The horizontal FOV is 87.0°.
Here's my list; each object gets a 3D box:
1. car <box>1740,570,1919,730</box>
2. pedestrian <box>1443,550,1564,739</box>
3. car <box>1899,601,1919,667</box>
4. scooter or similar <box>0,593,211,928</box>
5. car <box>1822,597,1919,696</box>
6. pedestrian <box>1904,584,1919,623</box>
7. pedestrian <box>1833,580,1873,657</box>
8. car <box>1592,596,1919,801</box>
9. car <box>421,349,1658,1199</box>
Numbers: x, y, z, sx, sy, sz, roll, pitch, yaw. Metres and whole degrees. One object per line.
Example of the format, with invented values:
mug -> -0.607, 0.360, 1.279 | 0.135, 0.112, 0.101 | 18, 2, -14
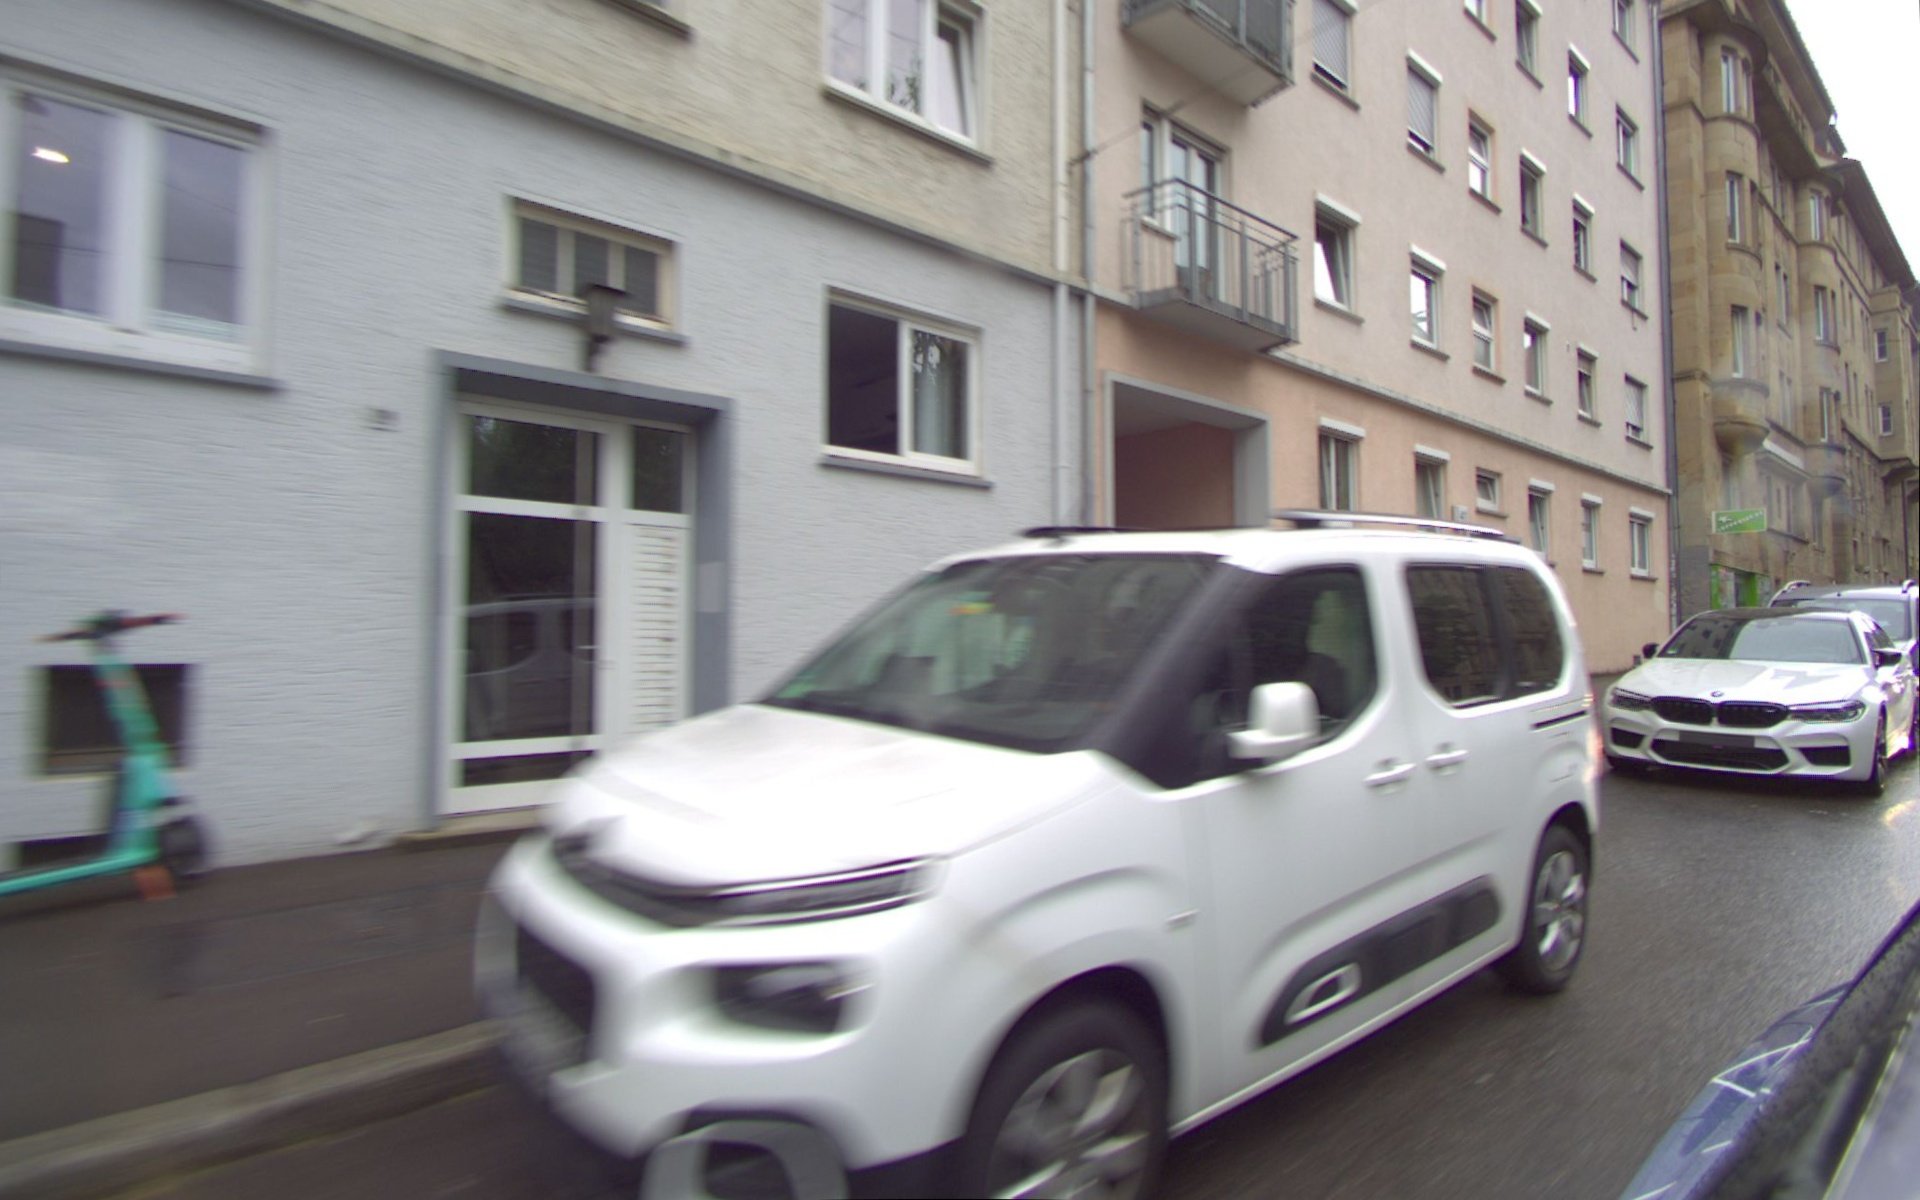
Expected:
car -> 11.797, 0.558, 13.245 | 4.139, 1.787, 1.793 | 0, 0, -42
pedestrian -> 5.669, 0.424, 10.560 | 1.020, 1.856, 0.747 | 1, 1, -39
car -> 22.631, 0.728, 22.933 | 4.238, 1.428, 1.671 | 0, 0, -43
scooter or similar -> -3.821, 0.629, 4.176 | 1.150, 1.314, 0.388 | 0, -1, -41
car -> 15.499, 0.691, 16.578 | 3.536, 1.481, 1.573 | 0, 0, -41
pedestrian -> 37.639, 0.138, 39.852 | 0.697, 1.555, 0.562 | 0, -1, -41
pedestrian -> 21.066, 0.431, 23.869 | 0.676, 1.785, 0.608 | 0, 0, -42
car -> 7.835, 0.724, 9.600 | 4.818, 1.474, 1.873 | 0, -1, -42
car -> 0.693, 0.517, 3.634 | 4.387, 1.773, 1.832 | 0, -1, -39
